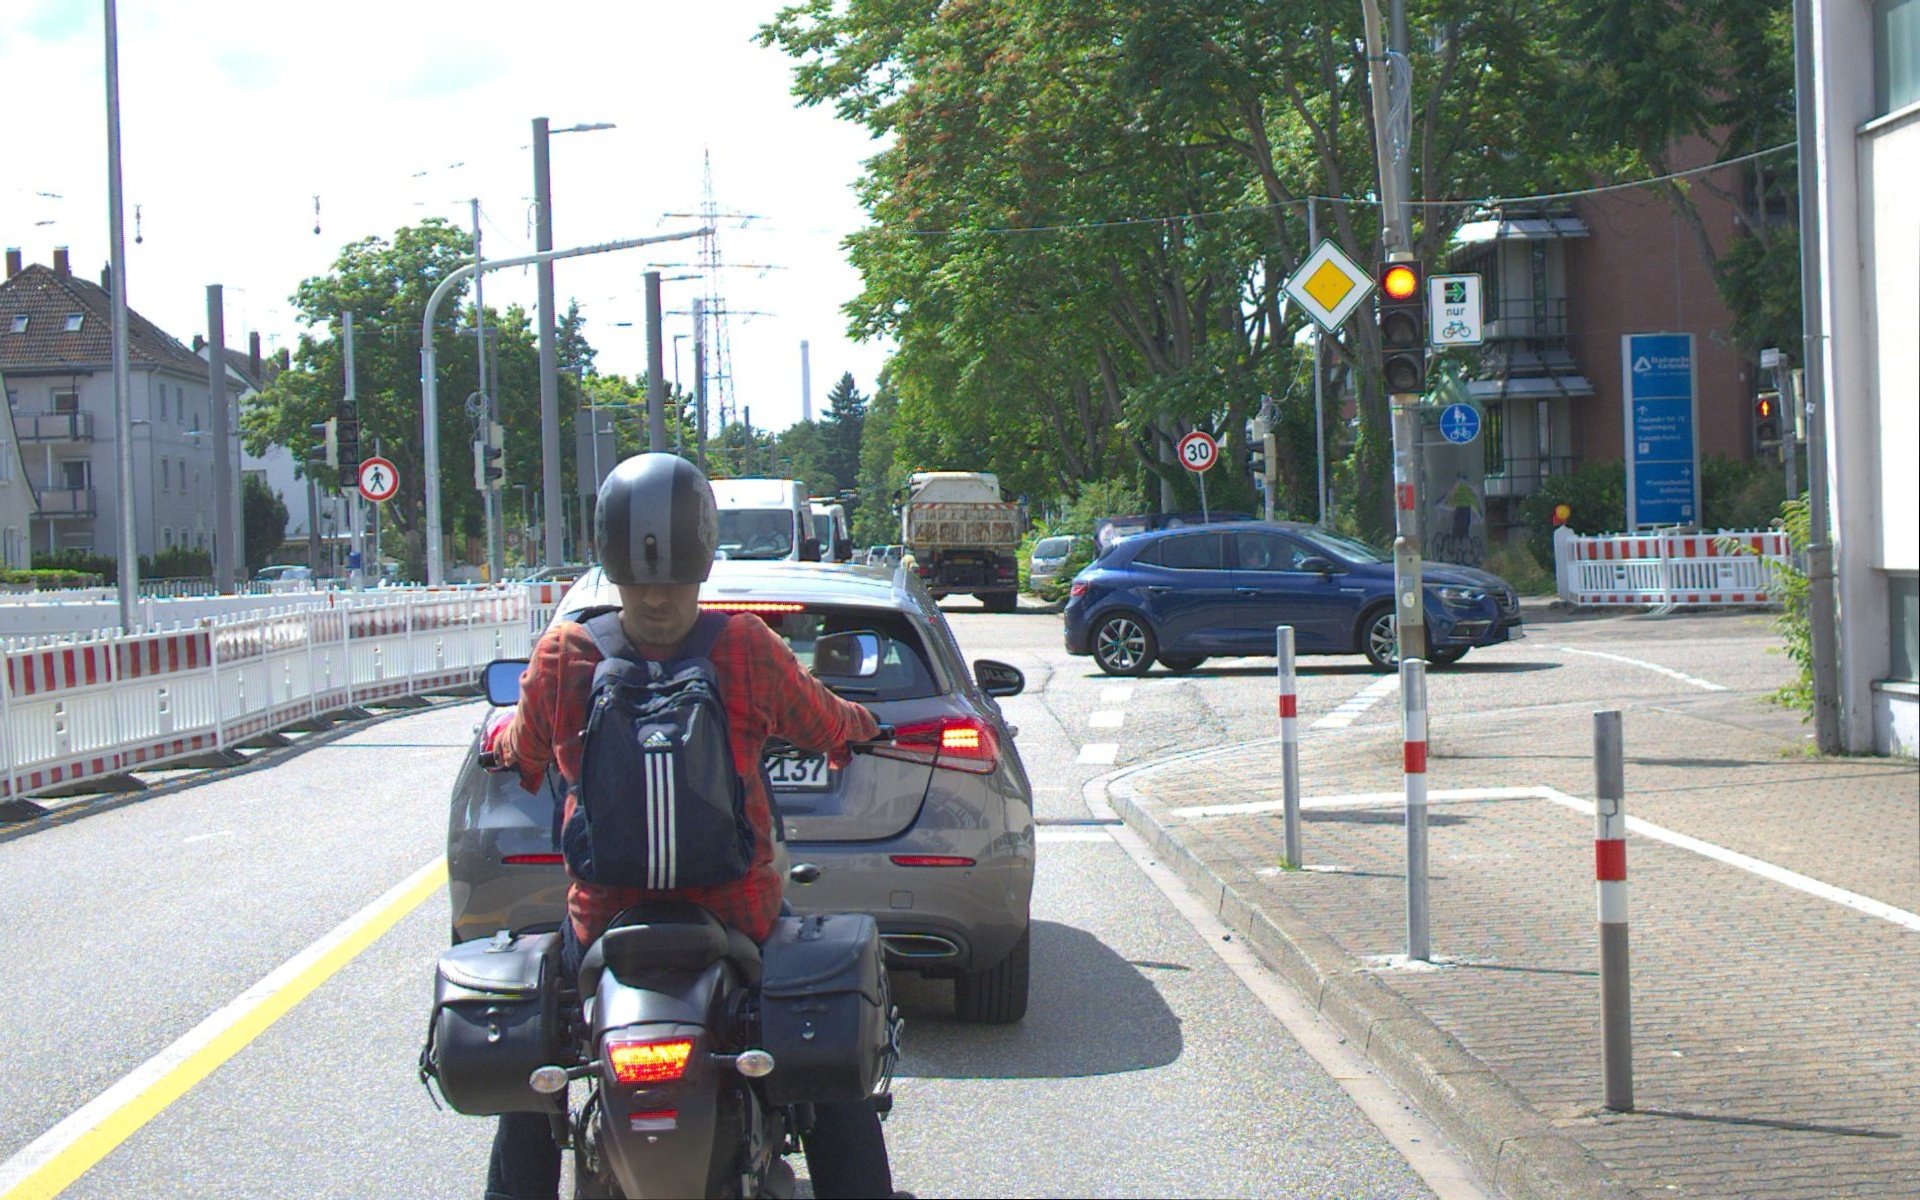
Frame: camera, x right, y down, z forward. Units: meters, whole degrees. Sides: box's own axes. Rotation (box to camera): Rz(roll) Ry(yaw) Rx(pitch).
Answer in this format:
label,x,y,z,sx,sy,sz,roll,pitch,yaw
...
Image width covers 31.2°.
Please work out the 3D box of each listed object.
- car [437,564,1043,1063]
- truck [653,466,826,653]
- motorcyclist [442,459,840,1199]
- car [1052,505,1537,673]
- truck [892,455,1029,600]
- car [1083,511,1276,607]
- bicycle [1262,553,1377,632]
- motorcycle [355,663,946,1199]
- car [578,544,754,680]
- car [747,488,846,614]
label,x,y,z,sx,sy,sz,roll,pitch,yaw
car,-0.830,0.592,11.915,1.731,1.399,4.087,0,1,-6
truck,-3.150,-0.661,50.154,2.093,2.468,5.196,-3,2,0
motorcyclist,-0.580,0.546,6.471,0.698,1.599,0.692,0,0,-1
car,3.173,-0.101,32.625,4.259,1.493,1.648,-1,1,22
truck,0.083,-1.616,78.961,2.967,3.162,7.764,0,0,1
car,4.522,-0.828,70.552,1.802,1.919,3.990,0,0,44
bicycle,5.386,-0.116,51.577,1.708,1.168,0.438,0,0,4
motorcycle,-0.521,0.768,6.731,0.942,1.196,2.473,0,1,-1
car,-3.402,0.121,40.374,1.744,1.432,4.084,-3,0,-1
car,-2.834,-0.840,60.049,1.589,2.135,3.627,0,0,0
